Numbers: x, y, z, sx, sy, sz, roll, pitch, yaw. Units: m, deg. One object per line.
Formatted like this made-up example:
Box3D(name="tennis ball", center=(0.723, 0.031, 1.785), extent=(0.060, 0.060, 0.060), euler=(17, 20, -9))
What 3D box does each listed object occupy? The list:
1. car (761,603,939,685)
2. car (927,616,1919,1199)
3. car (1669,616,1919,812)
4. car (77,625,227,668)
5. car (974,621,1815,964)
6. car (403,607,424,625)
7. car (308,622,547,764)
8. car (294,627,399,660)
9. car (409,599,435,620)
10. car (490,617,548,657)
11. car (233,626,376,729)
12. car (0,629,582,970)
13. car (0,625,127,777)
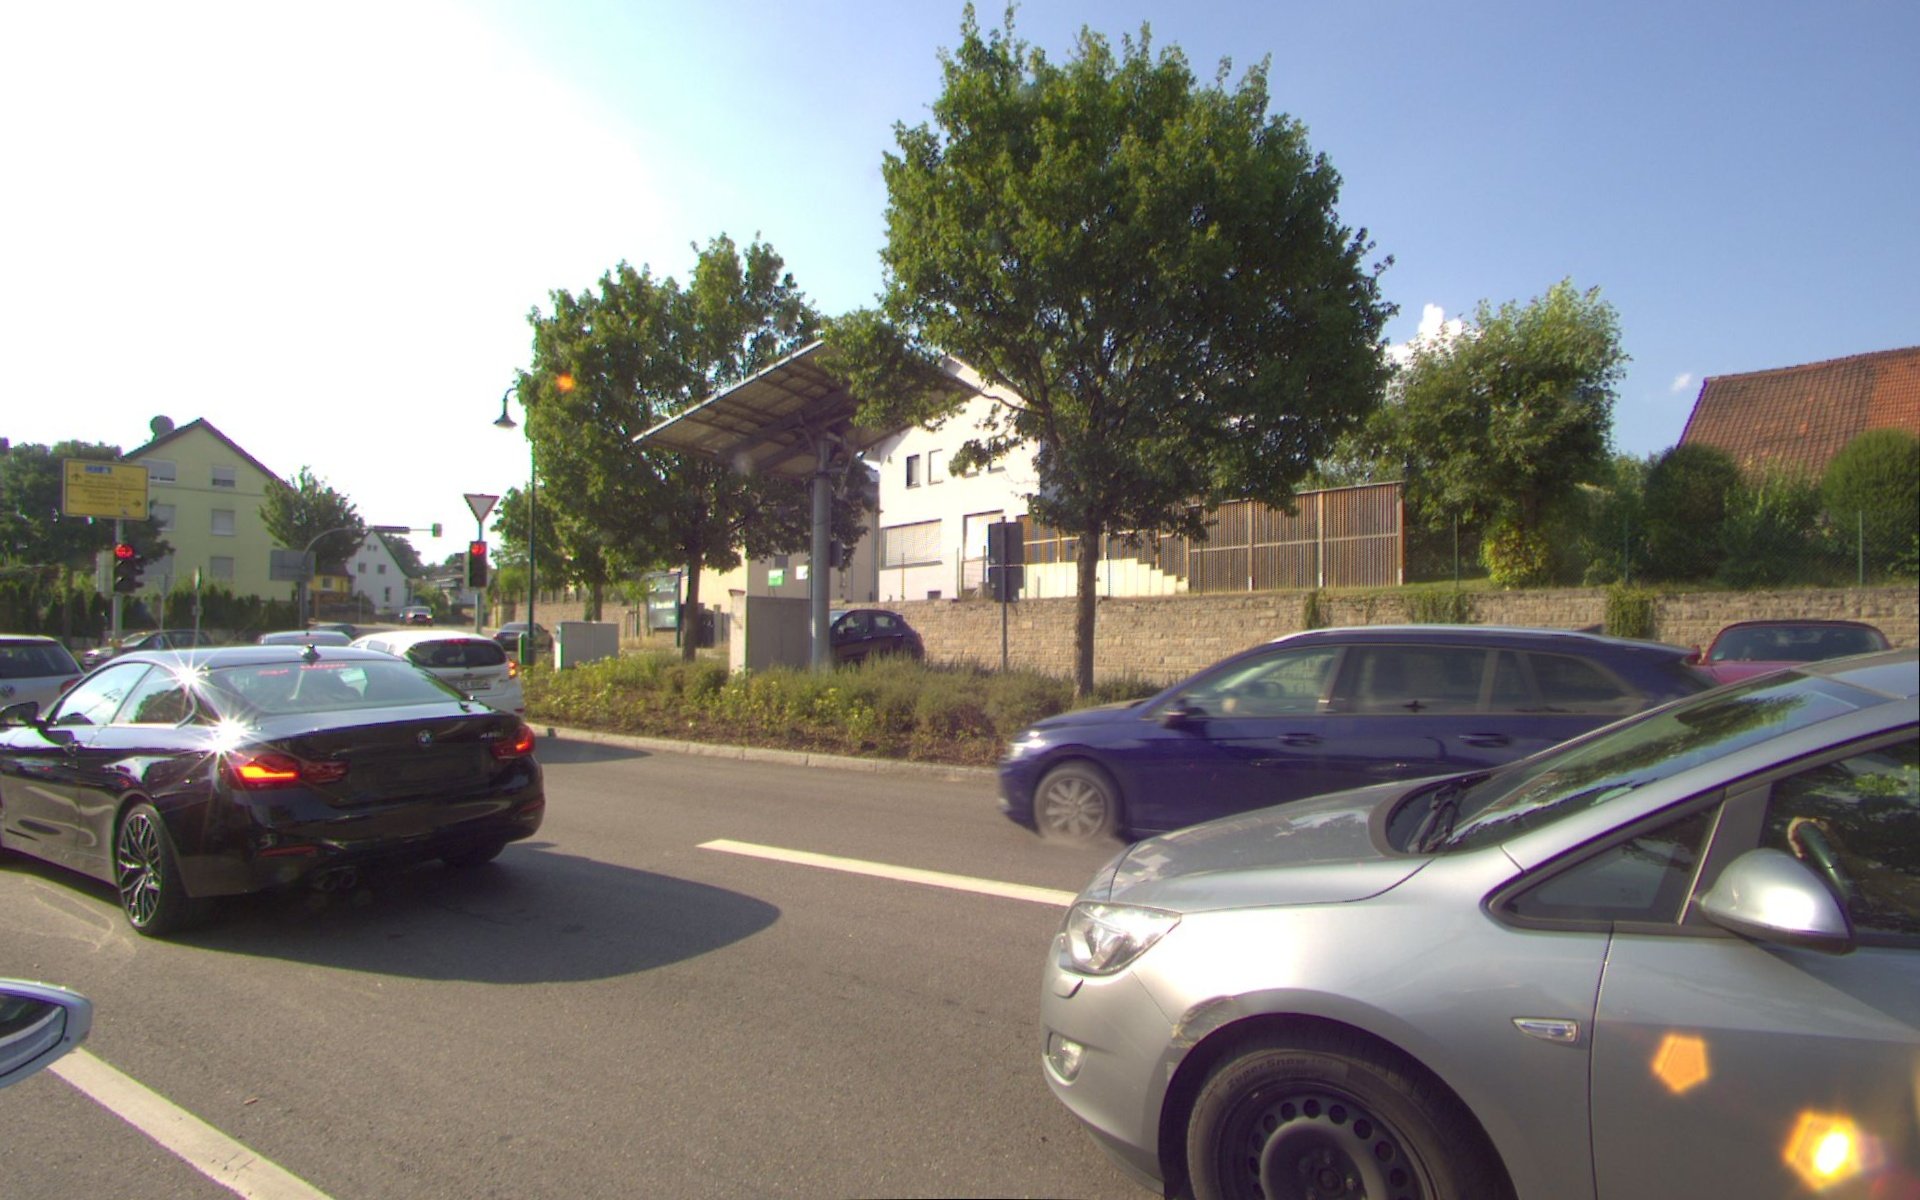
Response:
Box3D(name="car", center=(-2.369, 0.958, 22.303), extent=(1.758, 1.653, 3.800), euler=(-1, -2, 40))
Box3D(name="car", center=(2.183, 0.779, 2.167), extent=(4.256, 1.472, 1.758), euler=(-1, 0, 31))
Box3D(name="car", center=(8.234, 0.949, 9.751), extent=(1.758, 1.510, 4.120), euler=(-1, -2, 41))
Box3D(name="car", center=(-30.066, 1.714, 37.366), extent=(1.821, 1.508, 3.983), euler=(-1, -2, 30))
Box3D(name="car", center=(2.359, 0.885, 6.233), extent=(4.256, 1.472, 1.758), euler=(-1, 0, 31))
Box3D(name="car", center=(-56.256, 1.633, 103.167), extent=(1.821, 1.761, 4.763), euler=(1, -2, -28))
Box3D(name="car", center=(-6.909, 1.077, 12.892), extent=(3.278, 1.562, 1.611), euler=(-1, 0, 40))
Box3D(name="car", center=(-28.749, 2.024, 47.079), extent=(1.815, 1.508, 3.996), euler=(0, -2, 17))
Box3D(name="car", center=(-44.526, 0.803, 82.821), extent=(1.822, 1.662, 4.409), euler=(1, -2, -30))
Box3D(name="car", center=(-19.969, 1.628, 45.482), extent=(1.936, 1.701, 4.207), euler=(0, -1, -17))
Box3D(name="car", center=(-11.745, 1.268, 17.818), extent=(1.643, 1.562, 4.362), euler=(-1, 0, -40))
Box3D(name="car", center=(-4.425, 0.911, 6.191), extent=(4.220, 1.416, 1.758), euler=(-1, 0, 33))
Box3D(name="car", center=(-10.796, 1.009, 10.783), extent=(3.848, 1.444, 1.758), euler=(-1, 0, 33))
